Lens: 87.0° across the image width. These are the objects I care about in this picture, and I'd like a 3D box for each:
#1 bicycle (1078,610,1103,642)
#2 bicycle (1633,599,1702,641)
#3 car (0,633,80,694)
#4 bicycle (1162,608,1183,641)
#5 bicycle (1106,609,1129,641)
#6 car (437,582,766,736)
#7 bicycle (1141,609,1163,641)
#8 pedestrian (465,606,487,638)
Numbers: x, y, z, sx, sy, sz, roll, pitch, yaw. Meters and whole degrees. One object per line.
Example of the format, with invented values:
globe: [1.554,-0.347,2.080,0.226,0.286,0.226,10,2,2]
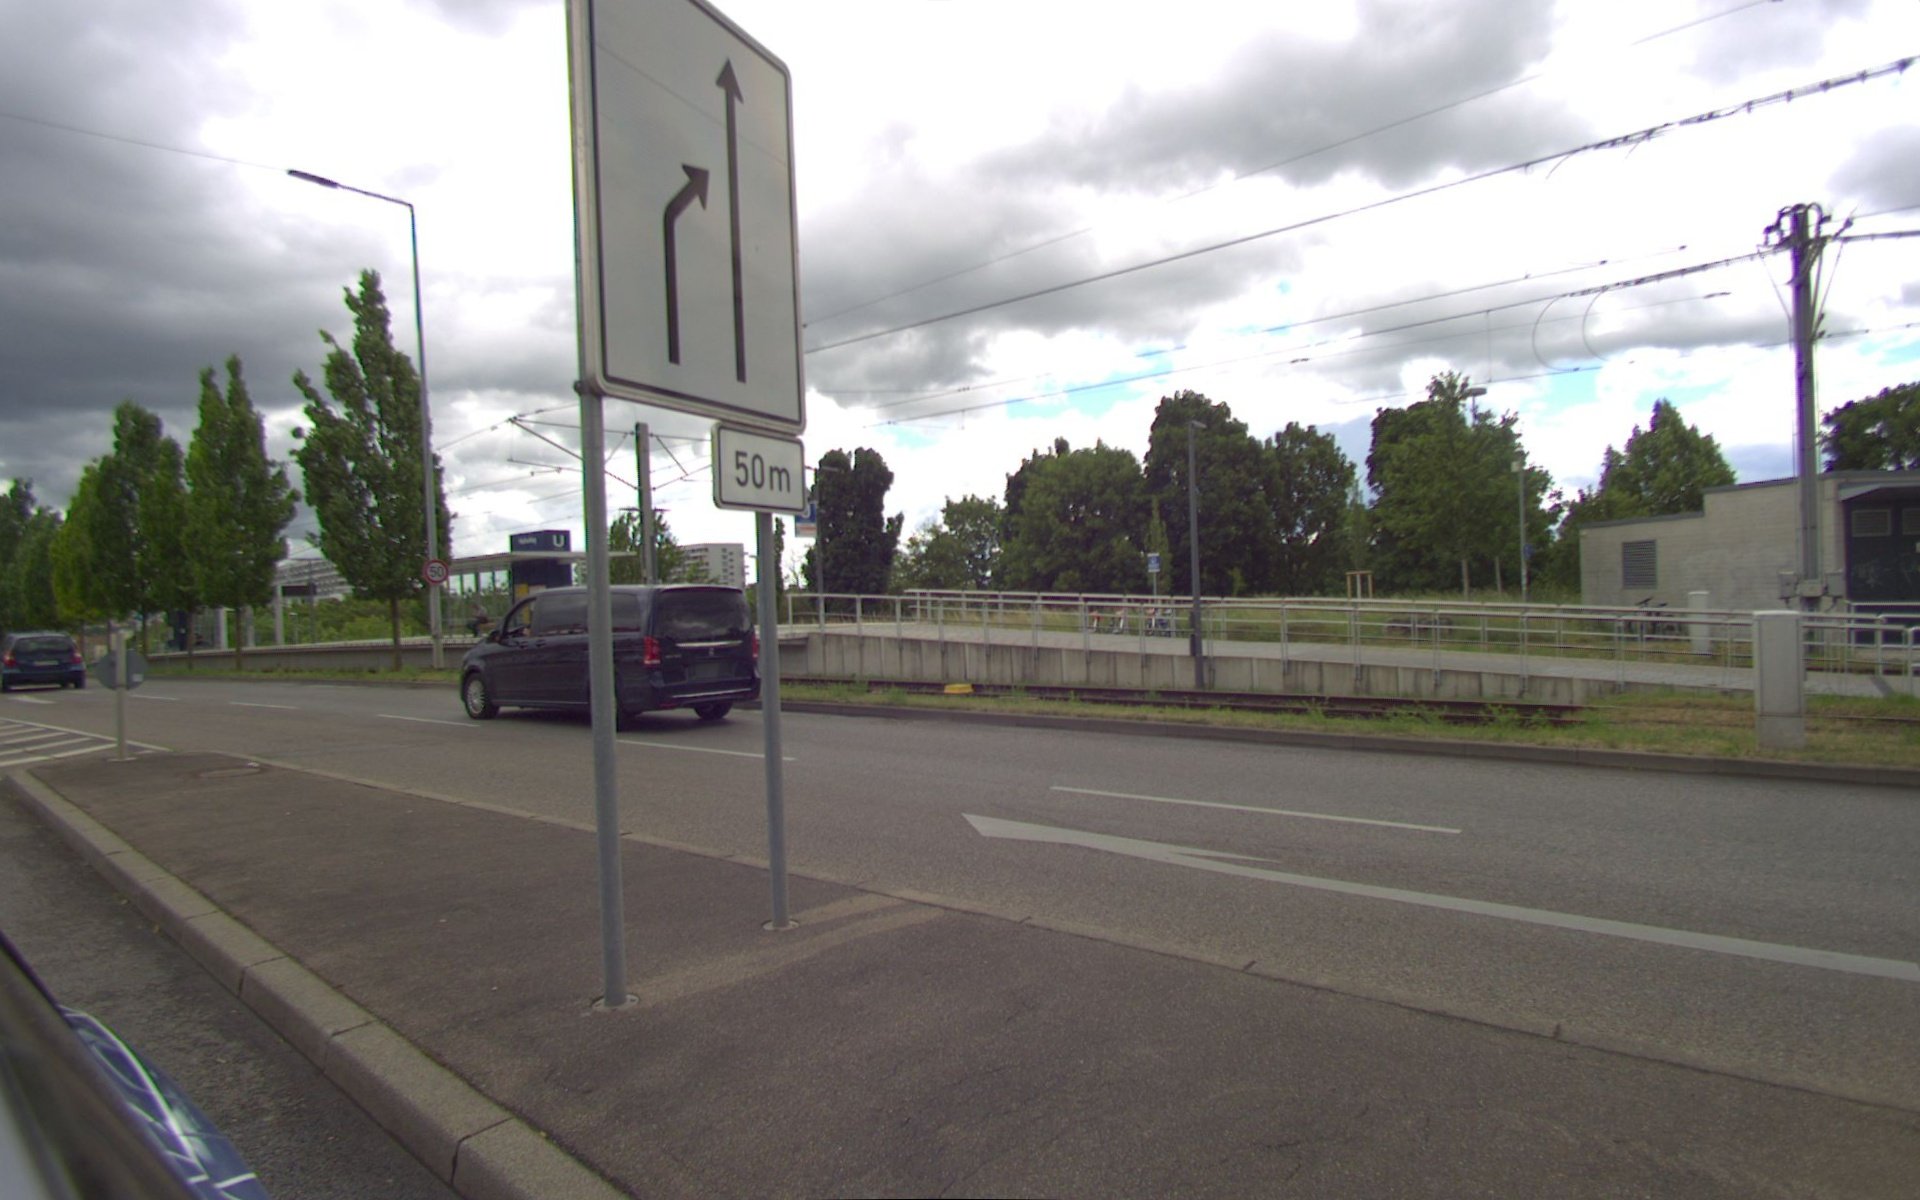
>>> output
bicycle: [4.505,0.878,34.840,0.531,1.039,1.804,-1,0,16]
bicycle: [18.209,0.505,26.099,0.529,1.039,1.813,-1,0,1]
car: [-25.698,1.698,27.748,3.655,1.520,1.719,-2,-1,38]
bicycle: [7.091,0.800,33.680,0.531,1.039,1.804,-1,0,16]
bicycle: [5.352,0.847,34.369,0.531,1.039,1.804,-1,0,16]
car: [-5.170,0.741,14.256,5.083,1.826,1.870,-1,-1,37]
bicycle: [6.452,0.821,33.987,0.531,1.039,1.804,-1,0,16]
pedestrian: [-18.203,0.815,38.055,0.447,1.163,0.593,-1,0,41]
